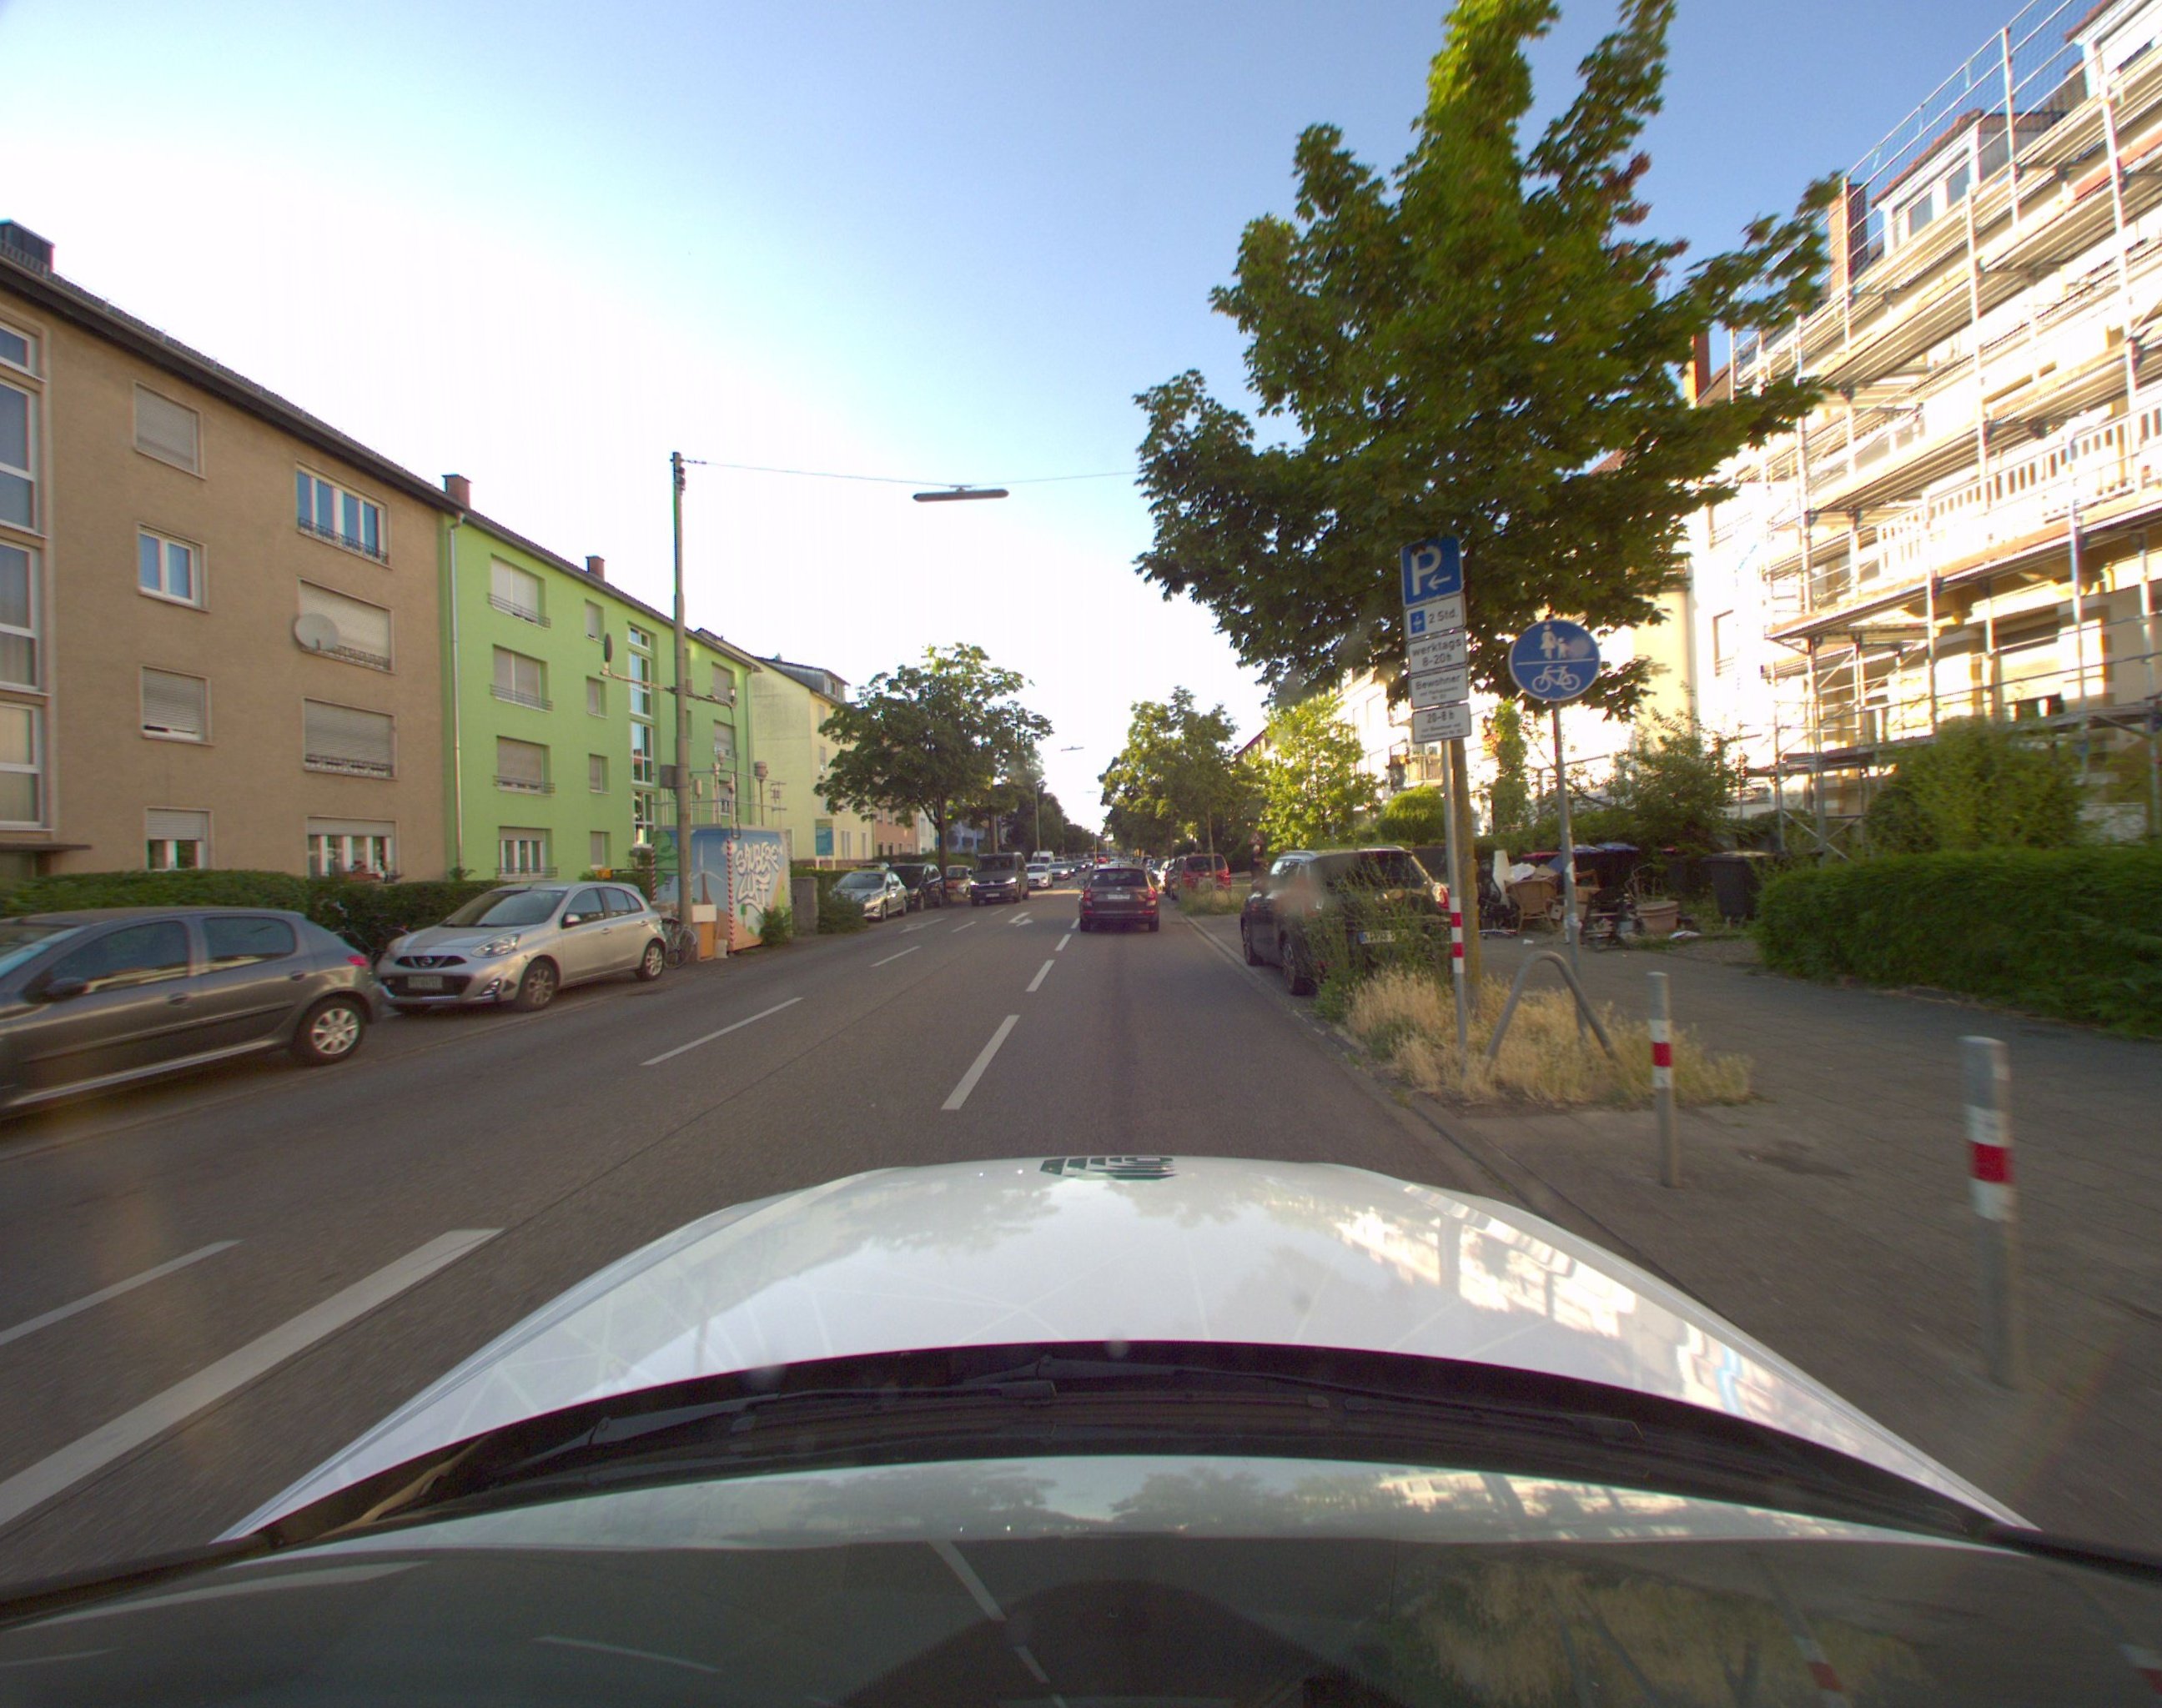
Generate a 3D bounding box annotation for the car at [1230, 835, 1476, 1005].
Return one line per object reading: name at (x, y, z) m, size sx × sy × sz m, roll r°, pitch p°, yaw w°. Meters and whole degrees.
car at (3.156, 0.689, 10.360) m, size 1.785 × 1.632 × 4.030 m, roll -4°, pitch -1°, yaw 1°

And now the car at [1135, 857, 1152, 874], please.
car at (6.600, 1.167, 86.167) m, size 1.746 × 1.662 × 4.257 m, roll -3°, pitch -1°, yaw 4°

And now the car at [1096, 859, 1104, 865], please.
car at (5.217, 2.230, 224.326) m, size 1.989 × 1.750 × 3.996 m, roll -2°, pitch -1°, yaw -3°

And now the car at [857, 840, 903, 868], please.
car at (-13.043, 0.024, 53.109) m, size 1.820 × 1.683 × 4.001 m, roll -2°, pitch -1°, yaw 2°

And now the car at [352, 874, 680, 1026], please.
car at (-7.180, 1.107, 10.894) m, size 1.631 × 1.552 × 3.787 m, roll -2°, pitch -1°, yaw 1°

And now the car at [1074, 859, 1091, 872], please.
car at (0.164, 1.454, 100.754) m, size 1.692 × 1.470 × 4.300 m, roll -3°, pitch -1°, yaw 5°

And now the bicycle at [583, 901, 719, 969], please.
bicycle at (-7.261, 1.358, 13.780) m, size 1.997 × 1.089 × 0.584 m, roll 0°, pitch -1°, yaw 3°

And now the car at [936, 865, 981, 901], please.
car at (-5.898, 1.383, 39.459) m, size 1.492 × 1.617 × 2.865 m, roll -2°, pitch -1°, yaw 5°

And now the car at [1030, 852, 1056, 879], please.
car at (-3.794, 1.110, 82.258) m, size 1.986 × 2.616 × 7.108 m, roll -1°, pitch 0°, yaw 2°

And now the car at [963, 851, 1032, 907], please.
car at (-3.251, 0.943, 32.789) m, size 1.986 × 1.946 × 4.780 m, roll -4°, pitch -1°, yaw 2°

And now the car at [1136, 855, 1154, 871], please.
car at (7.430, 1.063, 95.335) m, size 1.794 × 1.808 × 4.423 m, roll 0°, pitch 0°, yaw 0°

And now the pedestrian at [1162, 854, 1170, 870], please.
pedestrian at (10.005, 0.897, 96.166) m, size 0.746 × 1.861 × 1.068 m, roll -3°, pitch -1°, yaw 1°

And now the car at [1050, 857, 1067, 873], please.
car at (-2.895, 1.435, 105.406) m, size 1.861 × 2.031 × 5.303 m, roll -1°, pitch 0°, yaw 2°

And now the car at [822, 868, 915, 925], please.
car at (-6.468, 1.241, 25.241) m, size 1.676 × 1.521 × 4.191 m, roll -2°, pitch -1°, yaw 1°

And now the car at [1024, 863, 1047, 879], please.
car at (-4.238, 1.563, 75.959) m, size 1.700 × 1.492 × 4.061 m, roll 1°, pitch 0°, yaw 2°

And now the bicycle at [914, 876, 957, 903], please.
bicycle at (-6.101, 1.499, 34.174) m, size 1.667 × 1.089 × 0.561 m, roll -1°, pitch 0°, yaw 3°

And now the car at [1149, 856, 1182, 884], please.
car at (5.255, 0.976, 51.170) m, size 1.866 × 1.581 × 4.825 m, roll -3°, pitch -1°, yaw 4°

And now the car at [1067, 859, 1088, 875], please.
car at (-0.323, 1.221, 77.241) m, size 1.693 × 1.403 × 4.029 m, roll -4°, pitch -1°, yaw 2°

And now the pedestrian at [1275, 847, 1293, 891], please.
pedestrian at (7.828, 0.579, 31.408) m, size 0.509 × 1.697 × 0.527 m, roll -2°, pitch -1°, yaw -3°

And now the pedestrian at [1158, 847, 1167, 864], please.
pedestrian at (8.157, 0.167, 81.722) m, size 0.784 × 1.700 × 0.809 m, roll -1°, pitch -1°, yaw 7°

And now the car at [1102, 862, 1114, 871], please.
car at (4.231, 2.004, 129.529) m, size 1.775 × 1.480 × 3.969 m, roll 0°, pitch 0°, yaw -1°

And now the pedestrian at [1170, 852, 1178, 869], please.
pedestrian at (10.938, 0.759, 95.883) m, size 0.793 × 1.861 × 0.954 m, roll -3°, pitch -1°, yaw 13°

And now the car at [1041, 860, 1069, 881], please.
car at (-2.063, 1.281, 65.320) m, size 1.825 × 1.470 × 4.453 m, roll -5°, pitch -1°, yaw 2°

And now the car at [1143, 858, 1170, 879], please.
car at (5.689, 1.080, 61.726) m, size 1.712 × 1.494 × 4.395 m, roll -2°, pitch 0°, yaw 1°

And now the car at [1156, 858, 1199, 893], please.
car at (4.558, 0.971, 39.078) m, size 1.630 × 1.490 × 4.417 m, roll -3°, pitch -1°, yaw 2°

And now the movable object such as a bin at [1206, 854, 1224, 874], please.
movable object such as a bin at (10.662, 0.805, 64.736) m, size 1.258 × 1.492 × 1.143 m, roll -4°, pitch -1°, yaw 12°

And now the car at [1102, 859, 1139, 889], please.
car at (2.109, 1.072, 43.717) m, size 1.885 × 1.506 × 3.791 m, roll 2°, pitch -1°, yaw 2°

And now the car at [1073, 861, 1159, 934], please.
car at (0.862, 0.909, 18.736) m, size 1.746 × 1.492 × 4.004 m, roll 0°, pitch 0°, yaw 4°

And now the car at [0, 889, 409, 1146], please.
car at (-7.442, 1.092, 5.911) m, size 1.646 × 1.479 × 3.947 m, roll -2°, pitch -1°, yaw 4°

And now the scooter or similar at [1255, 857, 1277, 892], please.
scooter or similar at (7.071, 0.783, 31.171) m, size 0.742 × 1.317 × 0.723 m, roll -2°, pitch -1°, yaw 9°

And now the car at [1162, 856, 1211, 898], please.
car at (4.283, 0.906, 33.568) m, size 1.630 × 1.568 × 4.002 m, roll -3°, pitch -1°, yaw 3°

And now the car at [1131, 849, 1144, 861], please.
car at (8.236, 0.140, 118.266) m, size 1.746 × 1.686 × 4.257 m, roll 0°, pitch 0°, yaw 4°

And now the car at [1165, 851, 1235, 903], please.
car at (4.108, 0.757, 28.759) m, size 1.716 × 1.656 × 4.596 m, roll -2°, pitch 0°, yaw 0°

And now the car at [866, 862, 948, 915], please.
car at (-6.348, 1.213, 30.298) m, size 1.776 × 1.733 × 4.620 m, roll -2°, pitch -1°, yaw 3°

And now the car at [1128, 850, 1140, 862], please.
car at (8.722, 0.349, 134.631) m, size 1.908 × 1.860 × 5.639 m, roll -2°, pitch 0°, yaw 4°

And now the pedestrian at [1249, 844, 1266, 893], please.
pedestrian at (6.745, 0.537, 31.218) m, size 0.545 × 1.849 × 0.766 m, roll -2°, pitch -1°, yaw 9°

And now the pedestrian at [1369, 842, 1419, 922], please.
pedestrian at (6.329, 0.556, 16.495) m, size 0.557 × 1.568 × 0.744 m, roll -2°, pitch -1°, yaw -16°

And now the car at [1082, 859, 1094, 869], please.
car at (1.081, 1.693, 134.304) m, size 1.874 × 1.543 × 4.265 m, roll -2°, pitch 0°, yaw -1°

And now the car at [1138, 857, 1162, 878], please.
car at (5.782, 1.125, 68.711) m, size 1.712 × 1.601 × 4.098 m, roll -2°, pitch 0°, yaw 2°

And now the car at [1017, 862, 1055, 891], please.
car at (-2.563, 1.272, 47.392) m, size 1.809 × 1.446 × 4.111 m, roll -4°, pitch -1°, yaw 1°
